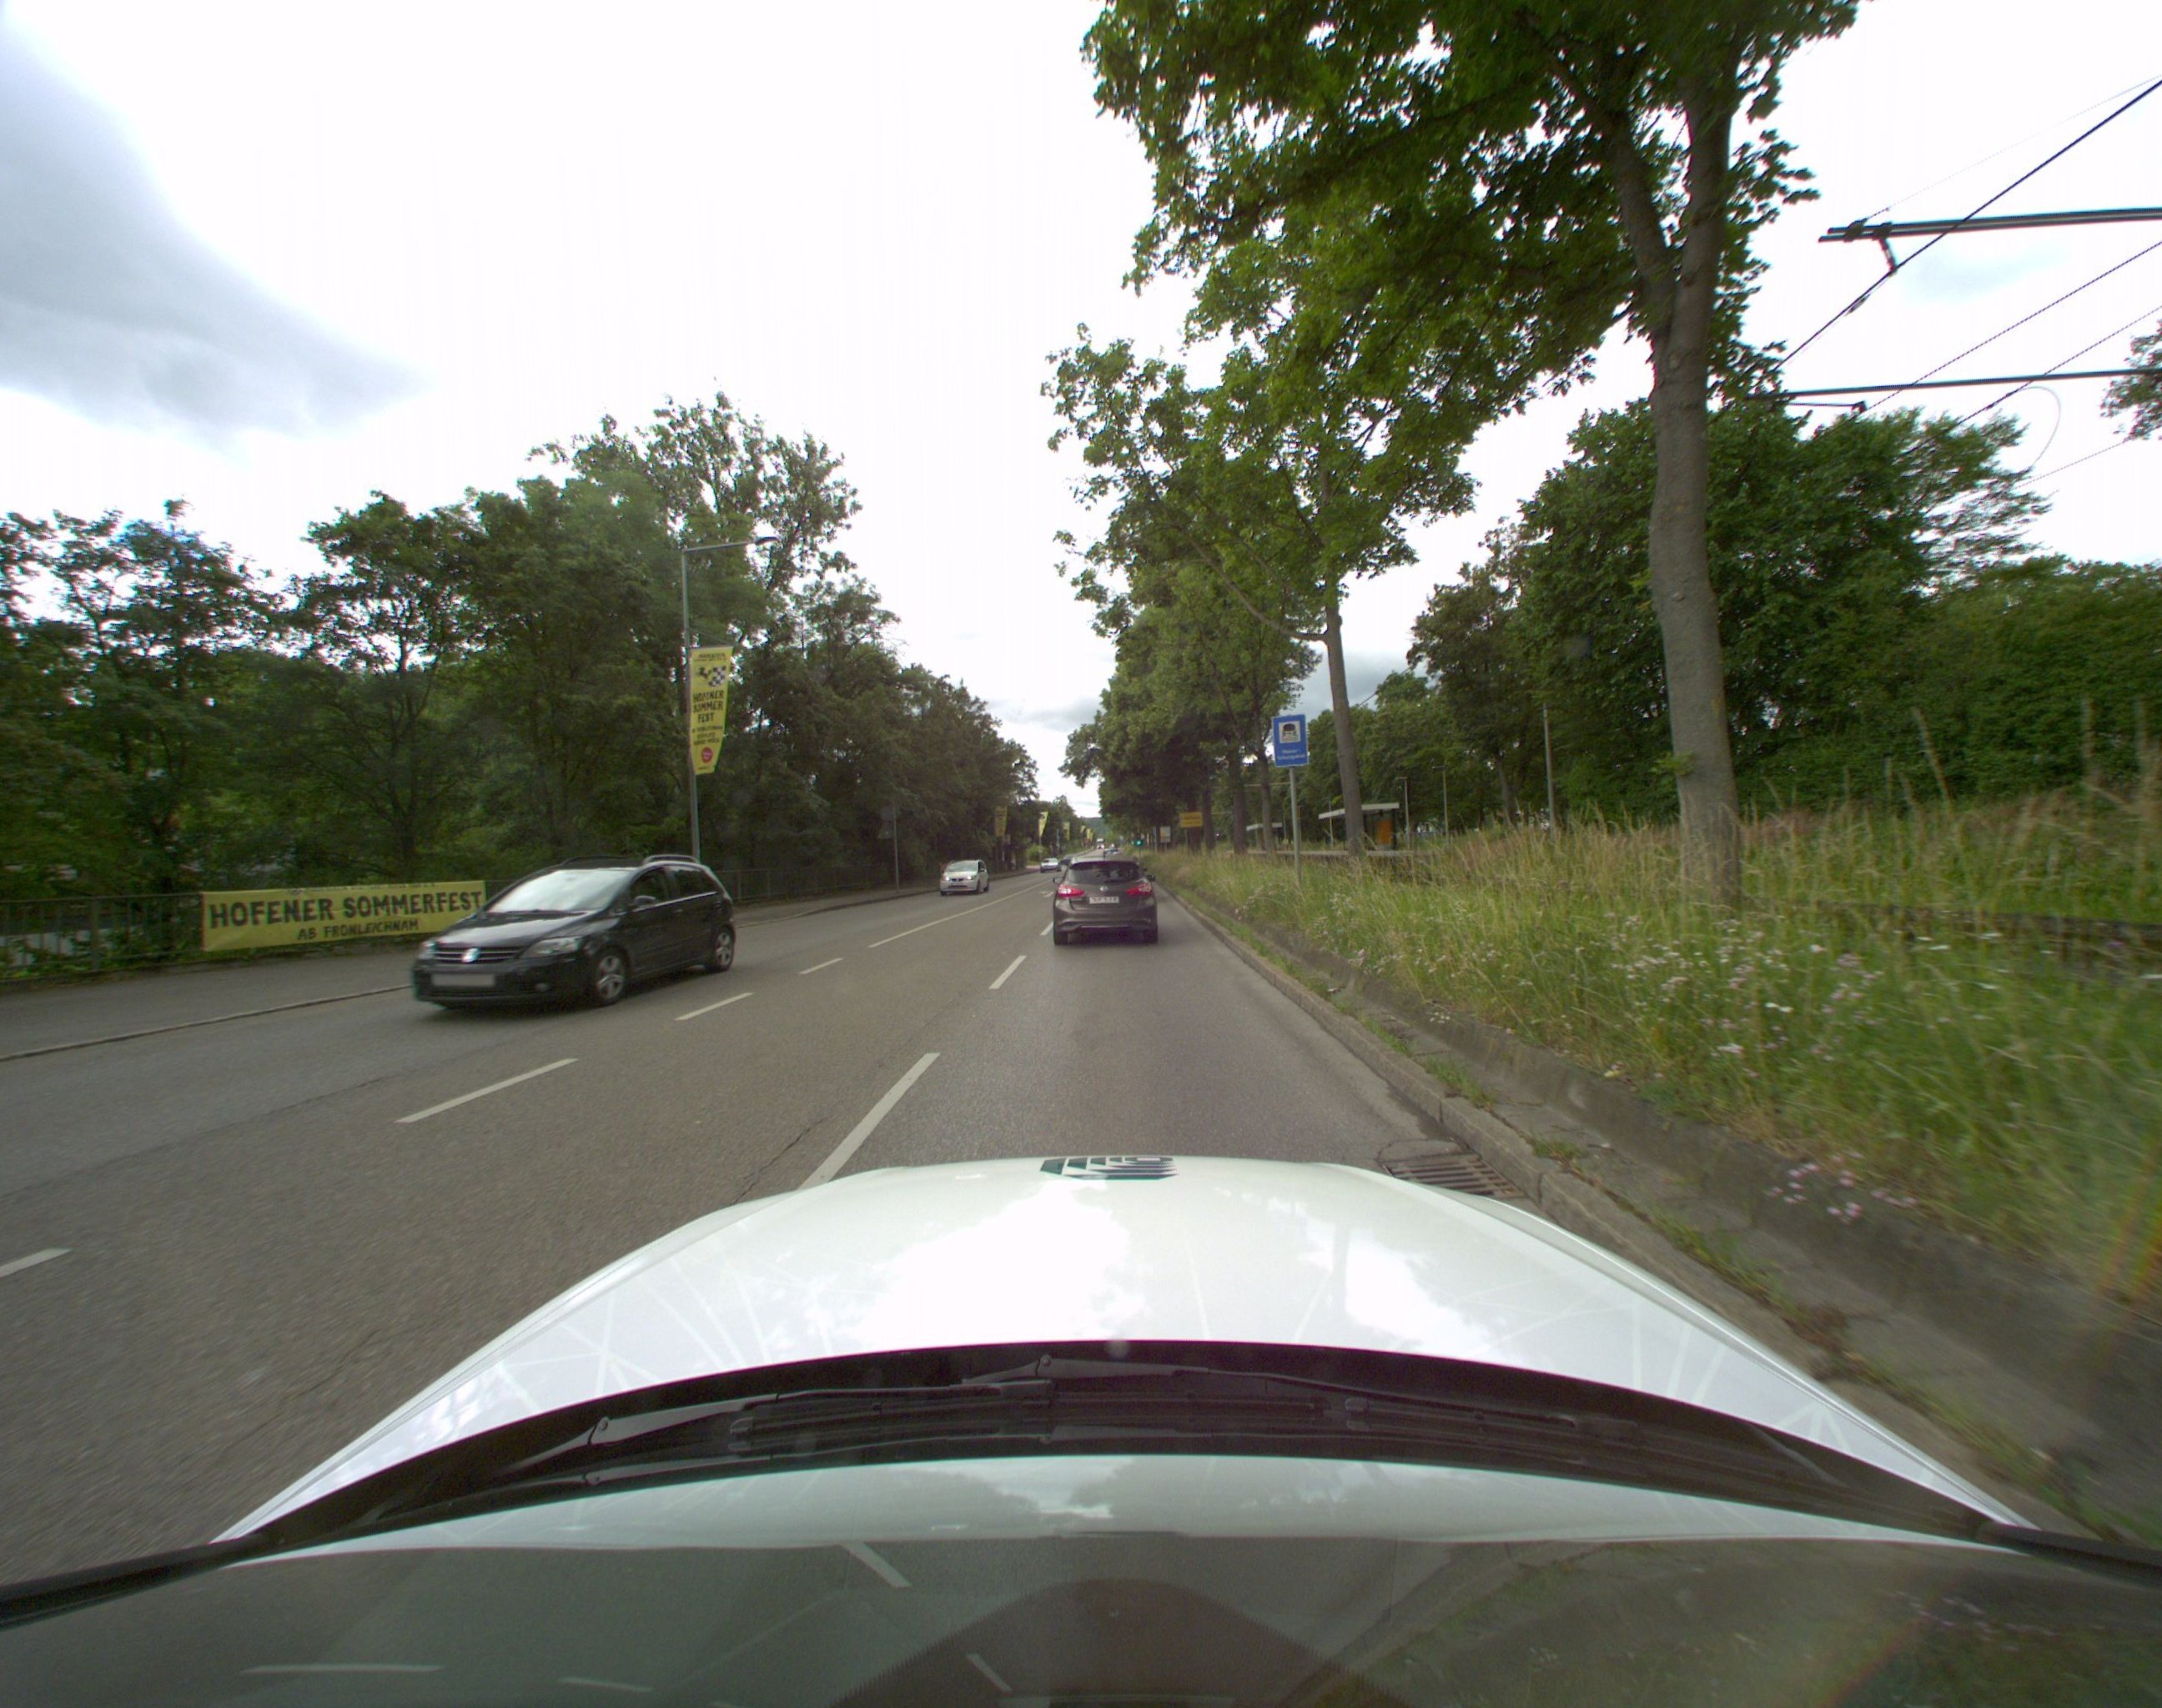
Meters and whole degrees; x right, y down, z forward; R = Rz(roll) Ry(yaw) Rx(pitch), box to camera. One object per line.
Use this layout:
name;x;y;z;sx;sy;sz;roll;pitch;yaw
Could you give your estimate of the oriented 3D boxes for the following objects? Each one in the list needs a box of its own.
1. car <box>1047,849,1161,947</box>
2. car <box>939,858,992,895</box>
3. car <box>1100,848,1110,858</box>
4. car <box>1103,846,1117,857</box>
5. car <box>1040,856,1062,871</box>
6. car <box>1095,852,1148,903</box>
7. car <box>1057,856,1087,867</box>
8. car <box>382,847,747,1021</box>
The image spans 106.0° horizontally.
car;0.467;0.706;14.918;1.776;1.507;3.699;-2;0;3
car;-4.966;0.924;35.457;1.574;1.466;3.699;-2;0;3
car;4.800;-0.163;162.660;1.987;2.014;3.999;0;-1;0
car;4.391;-0.299;122.564;1.986;1.574;4.002;0;-1;2
car;-2.805;0.865;76.585;1.751;1.337;3.699;-2;0;3
car;1.256;0.693;25.632;1.496;1.441;3.544;-2;0;2
car;-1.166;0.979;104.180;3.649;1.337;1.775;-2;0;42
car;-5.711;0.759;9.709;1.714;1.607;4.014;-1;0;1
